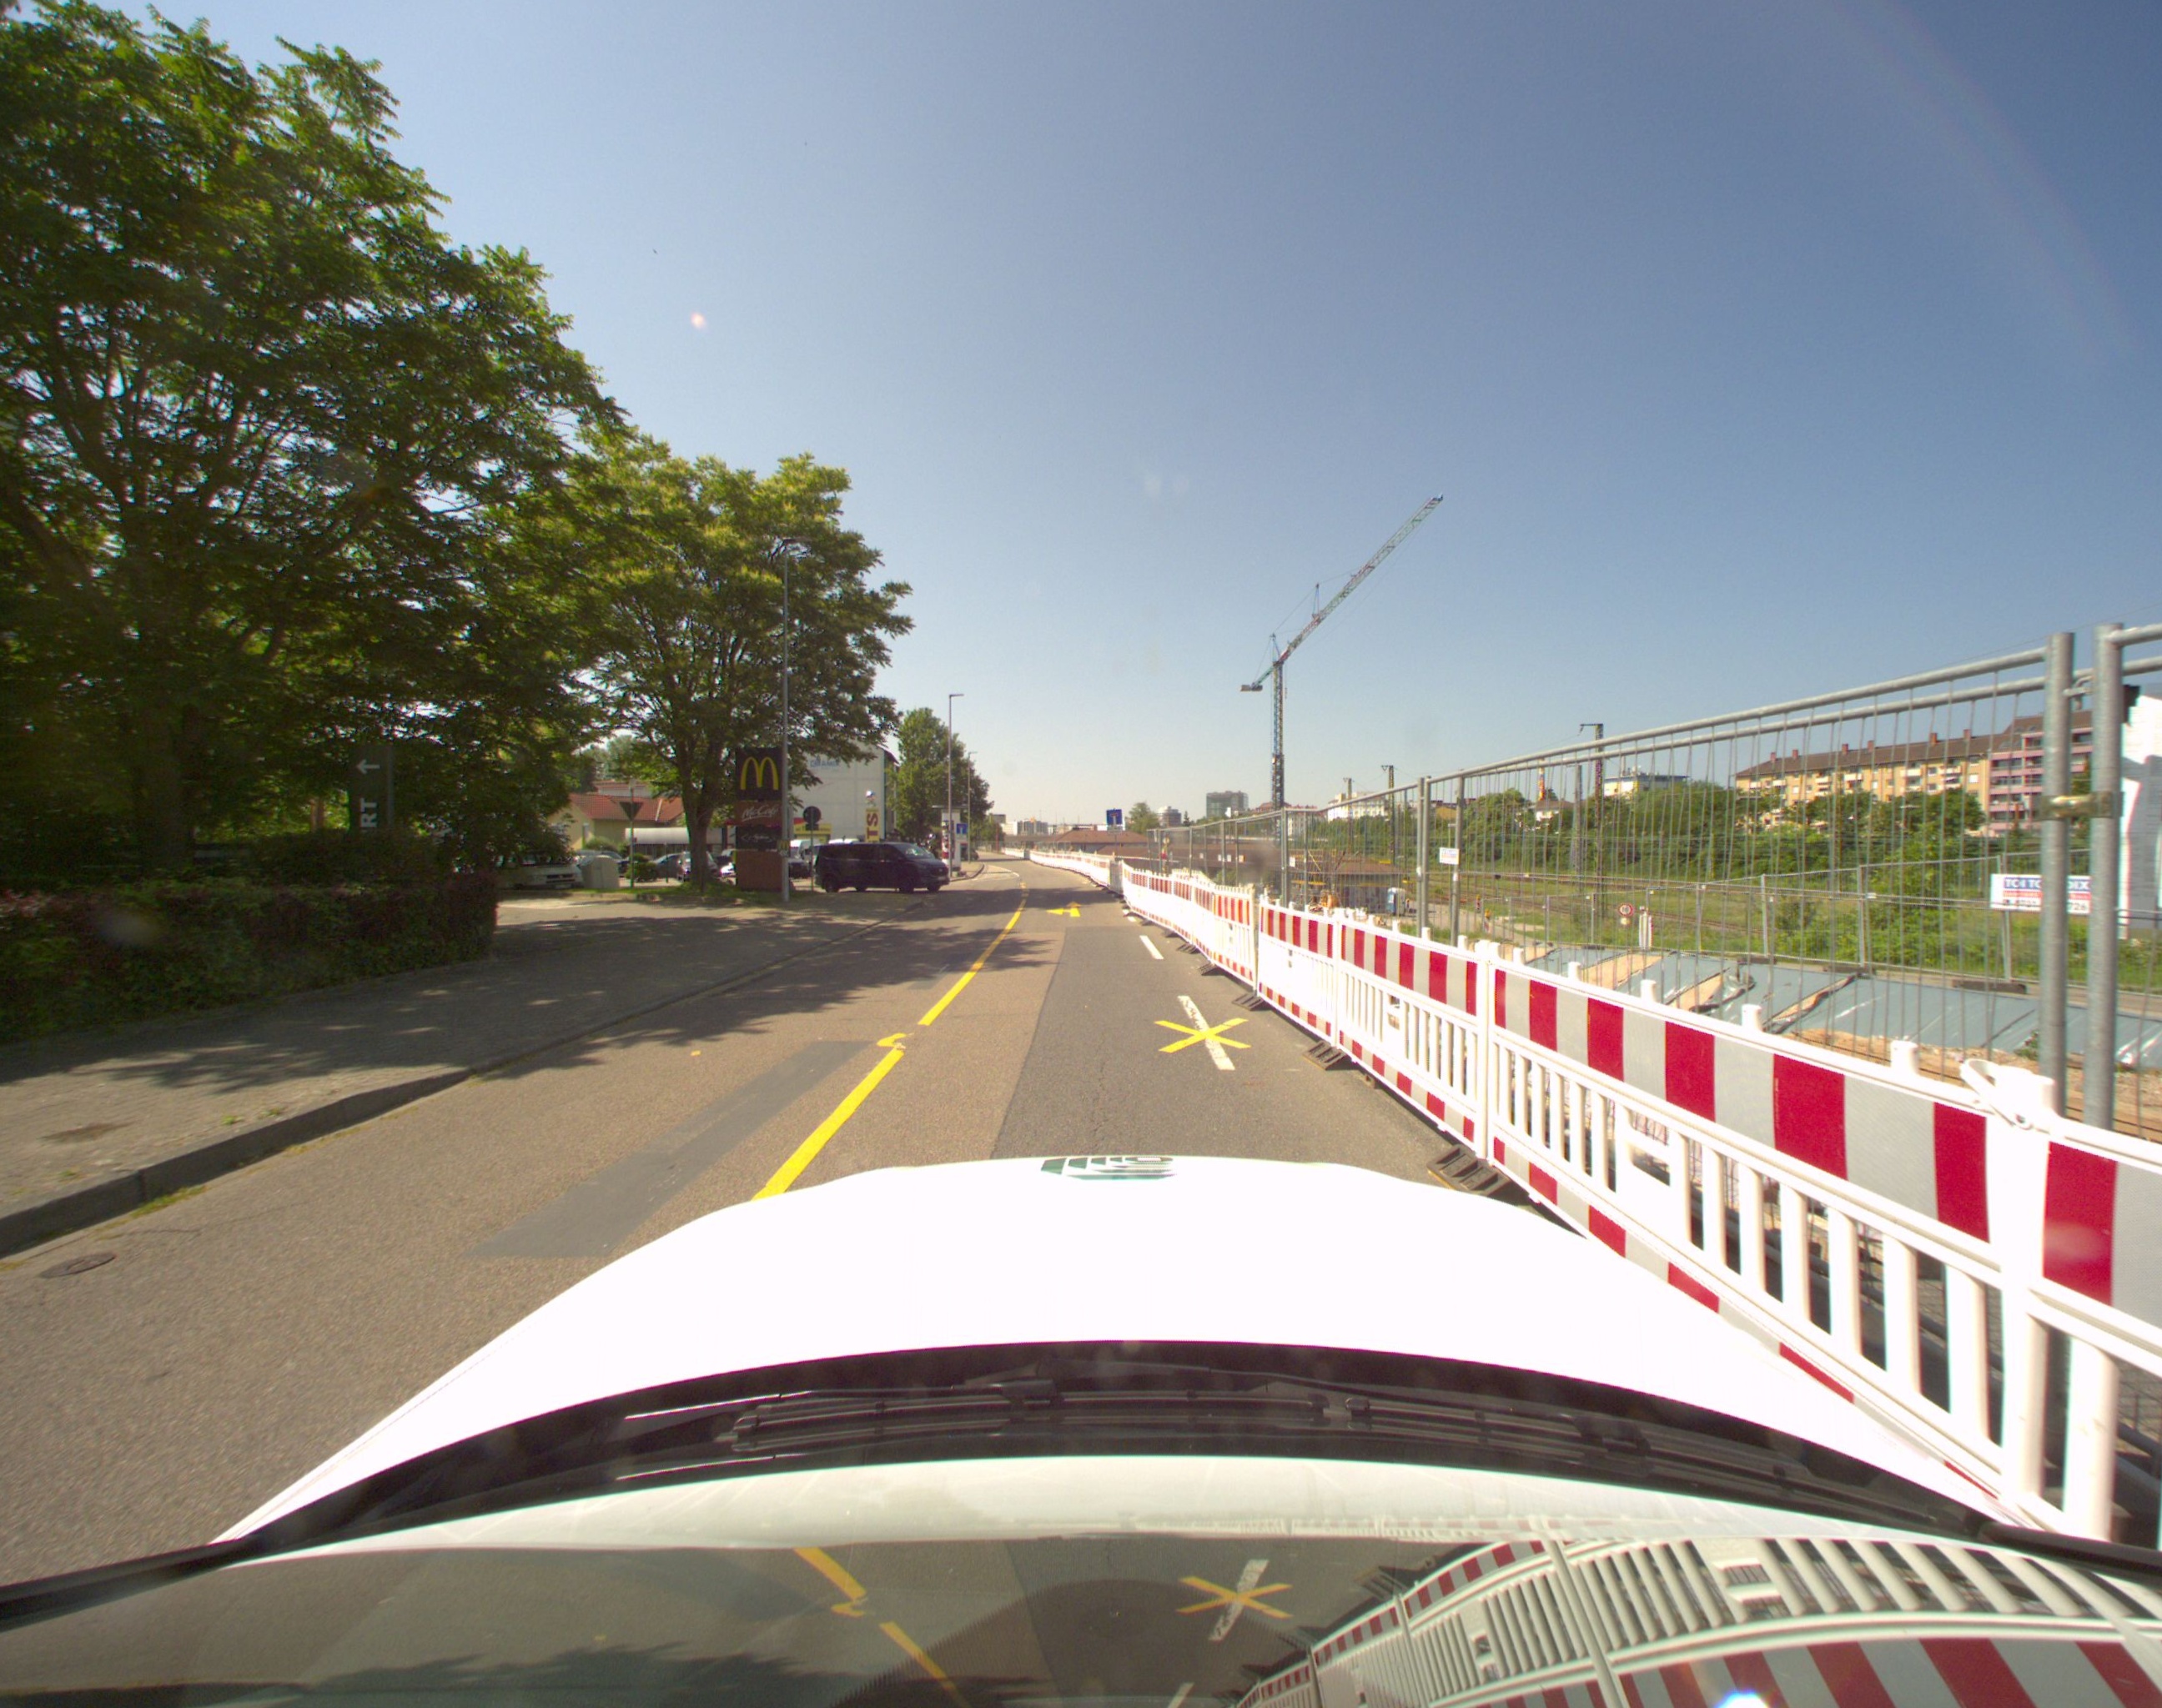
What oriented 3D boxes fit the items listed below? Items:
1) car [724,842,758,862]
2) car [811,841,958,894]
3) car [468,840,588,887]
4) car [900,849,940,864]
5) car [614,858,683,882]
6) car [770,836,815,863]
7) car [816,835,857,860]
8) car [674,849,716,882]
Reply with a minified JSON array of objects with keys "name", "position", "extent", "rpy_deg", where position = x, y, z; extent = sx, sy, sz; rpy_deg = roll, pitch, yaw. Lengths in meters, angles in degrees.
[{"name":"car","position":[-25.128,-0.131,60.118],"extent":[1.579,1.421,3.648],"rpy_deg":[0,0,-35]},{"name":"car","position":[-7.590,0.483,31.423],"extent":[5.317,1.935,2.011],"rpy_deg":[0,1,22]},{"name":"car","position":[-19.201,0.314,28.259],"extent":[3.949,1.532,1.832],"rpy_deg":[0,1,29]},{"name":"car","position":[-15.868,0.241,80.221],"extent":[3.640,1.421,1.582],"rpy_deg":[0,0,30]},{"name":"car","position":[-26.545,0.962,50.101],"extent":[3.696,1.421,1.559],"rpy_deg":[0,0,-27]},{"name":"car","position":[-21.660,-0.333,61.044],"extent":[2.009,1.903,3.955],"rpy_deg":[0,0,-38]},{"name":"car","position":[-19.471,-0.541,64.675],"extent":[1.837,1.929,3.955],"rpy_deg":[0,0,-38]},{"name":"car","position":[-21.694,0.622,45.682],"extent":[2.005,1.728,3.964],"rpy_deg":[-1,1,-28]}]
